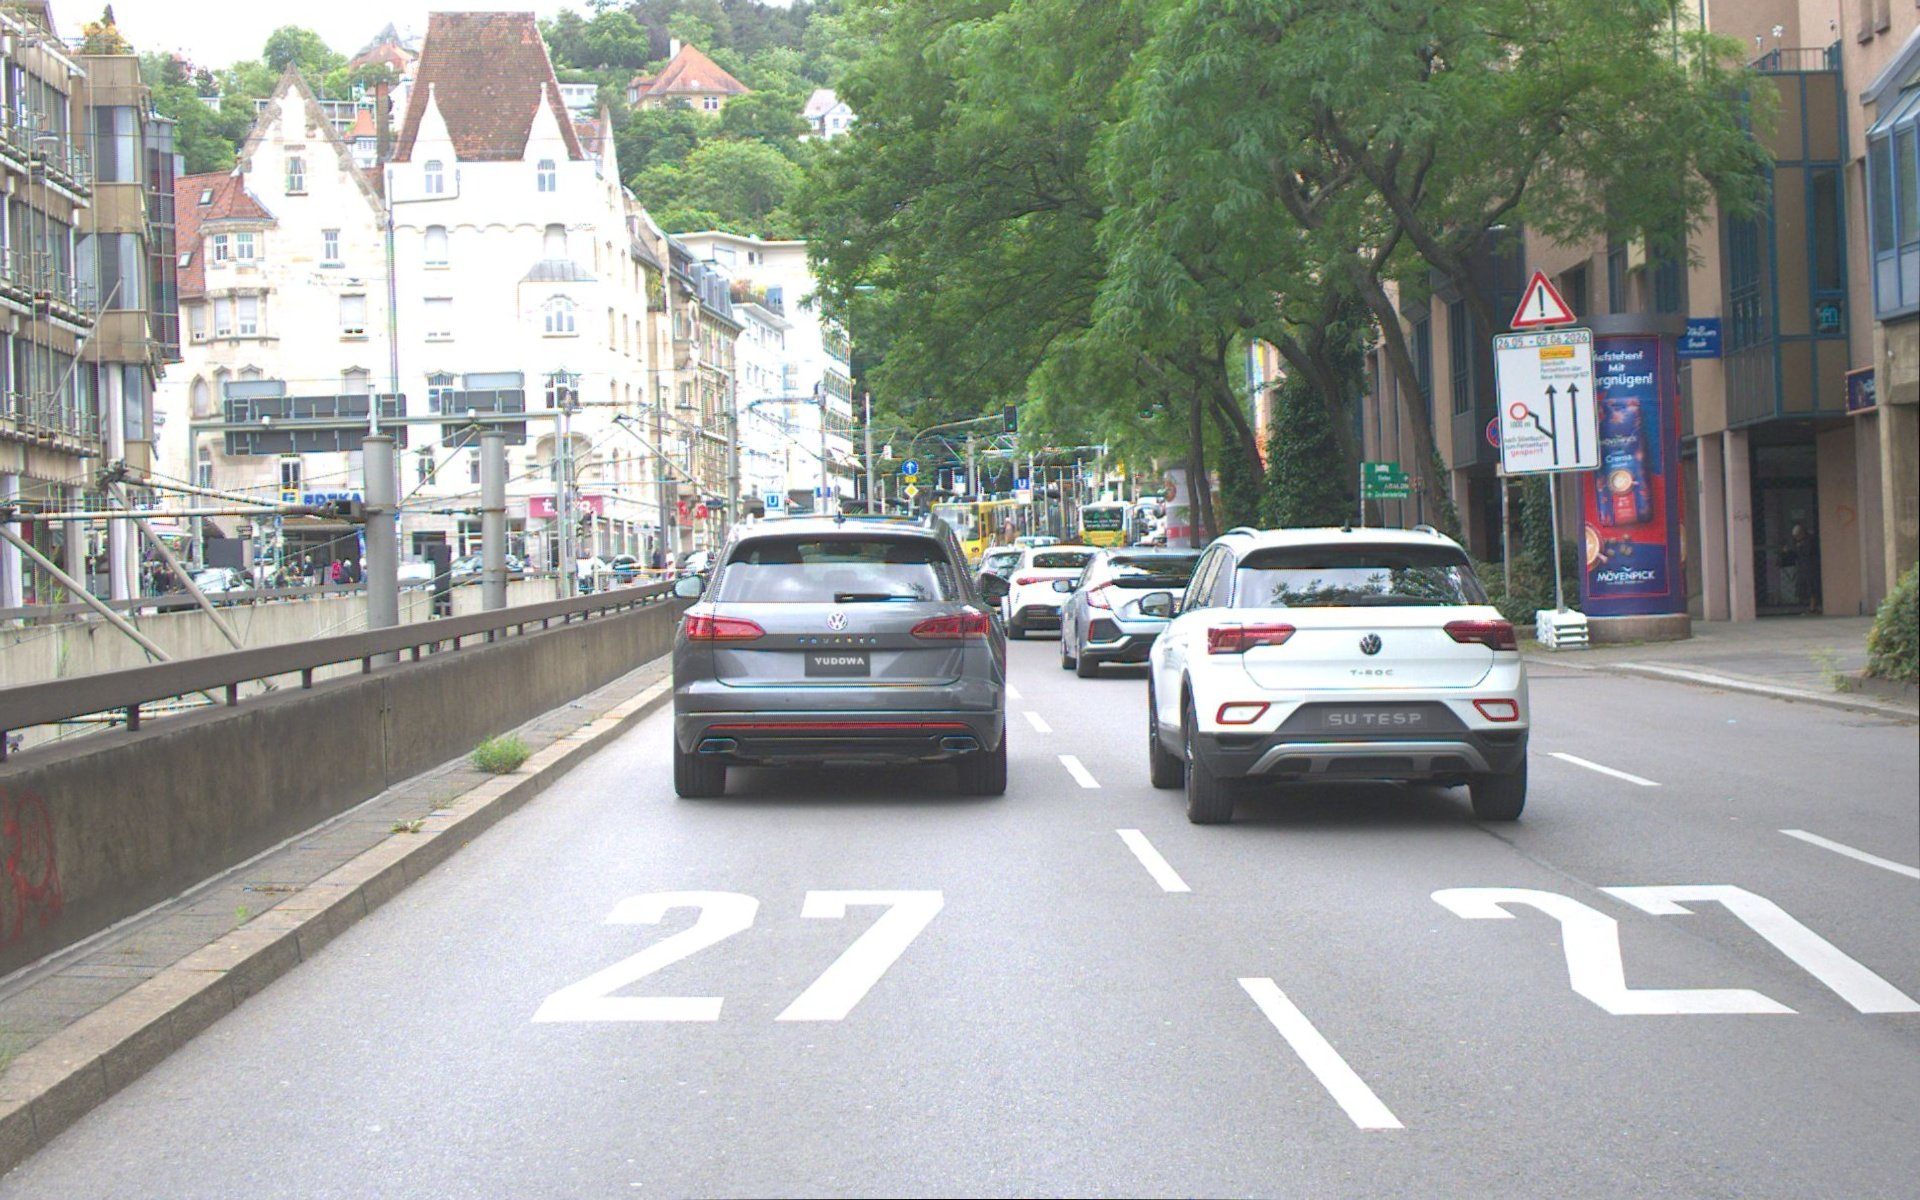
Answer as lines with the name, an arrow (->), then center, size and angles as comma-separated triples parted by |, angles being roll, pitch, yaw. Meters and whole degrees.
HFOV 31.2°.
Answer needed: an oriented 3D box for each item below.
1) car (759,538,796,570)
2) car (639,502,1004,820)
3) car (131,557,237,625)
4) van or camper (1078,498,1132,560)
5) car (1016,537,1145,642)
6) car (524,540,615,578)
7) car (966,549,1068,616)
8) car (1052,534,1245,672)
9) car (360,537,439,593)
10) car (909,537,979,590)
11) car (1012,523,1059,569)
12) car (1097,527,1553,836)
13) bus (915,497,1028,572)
car -> -9.818, -2.506, 185.036 | 1.818, 1.641, 4.001 | -2, 1, -5
car -> -0.867, 0.280, 21.328 | 1.970, 1.689, 4.225 | -3, 2, -3
car -> -21.549, -0.272, 95.666 | 1.993, 1.761, 4.281 | -2, 1, -1
van or camper -> 7.699, -3.746, 181.602 | 2.628, 3.167, 5.802 | -2, 1, 4
car -> 1.873, -0.179, 54.500 | 1.832, 1.512, 3.767 | -3, 1, 0
car -> -18.058, -1.909, 158.927 | 3.986, 1.641, 1.825 | -2, 1, -12
car -> 1.239, -0.391, 76.632 | 1.832, 1.358, 3.768 | -3, 1, -5
car -> 2.058, 0.058, 38.605 | 1.833, 1.427, 4.147 | -1, -1, -1
car -> -18.575, -1.179, 114.118 | 1.993, 1.761, 4.000 | -2, 1, -1
car -> -0.484, -1.166, 108.356 | 1.832, 1.561, 3.767 | -3, 1, 5
car -> 3.220, -2.302, 147.894 | 1.832, 1.868, 4.871 | -3, 1, 0
car -> 1.913, 0.379, 19.165 | 1.797, 1.540, 3.936 | 0, 1, -5
bus -> 0.727, -3.359, 176.097 | 3.850, 3.520, 17.242 | -2, 1, 7
